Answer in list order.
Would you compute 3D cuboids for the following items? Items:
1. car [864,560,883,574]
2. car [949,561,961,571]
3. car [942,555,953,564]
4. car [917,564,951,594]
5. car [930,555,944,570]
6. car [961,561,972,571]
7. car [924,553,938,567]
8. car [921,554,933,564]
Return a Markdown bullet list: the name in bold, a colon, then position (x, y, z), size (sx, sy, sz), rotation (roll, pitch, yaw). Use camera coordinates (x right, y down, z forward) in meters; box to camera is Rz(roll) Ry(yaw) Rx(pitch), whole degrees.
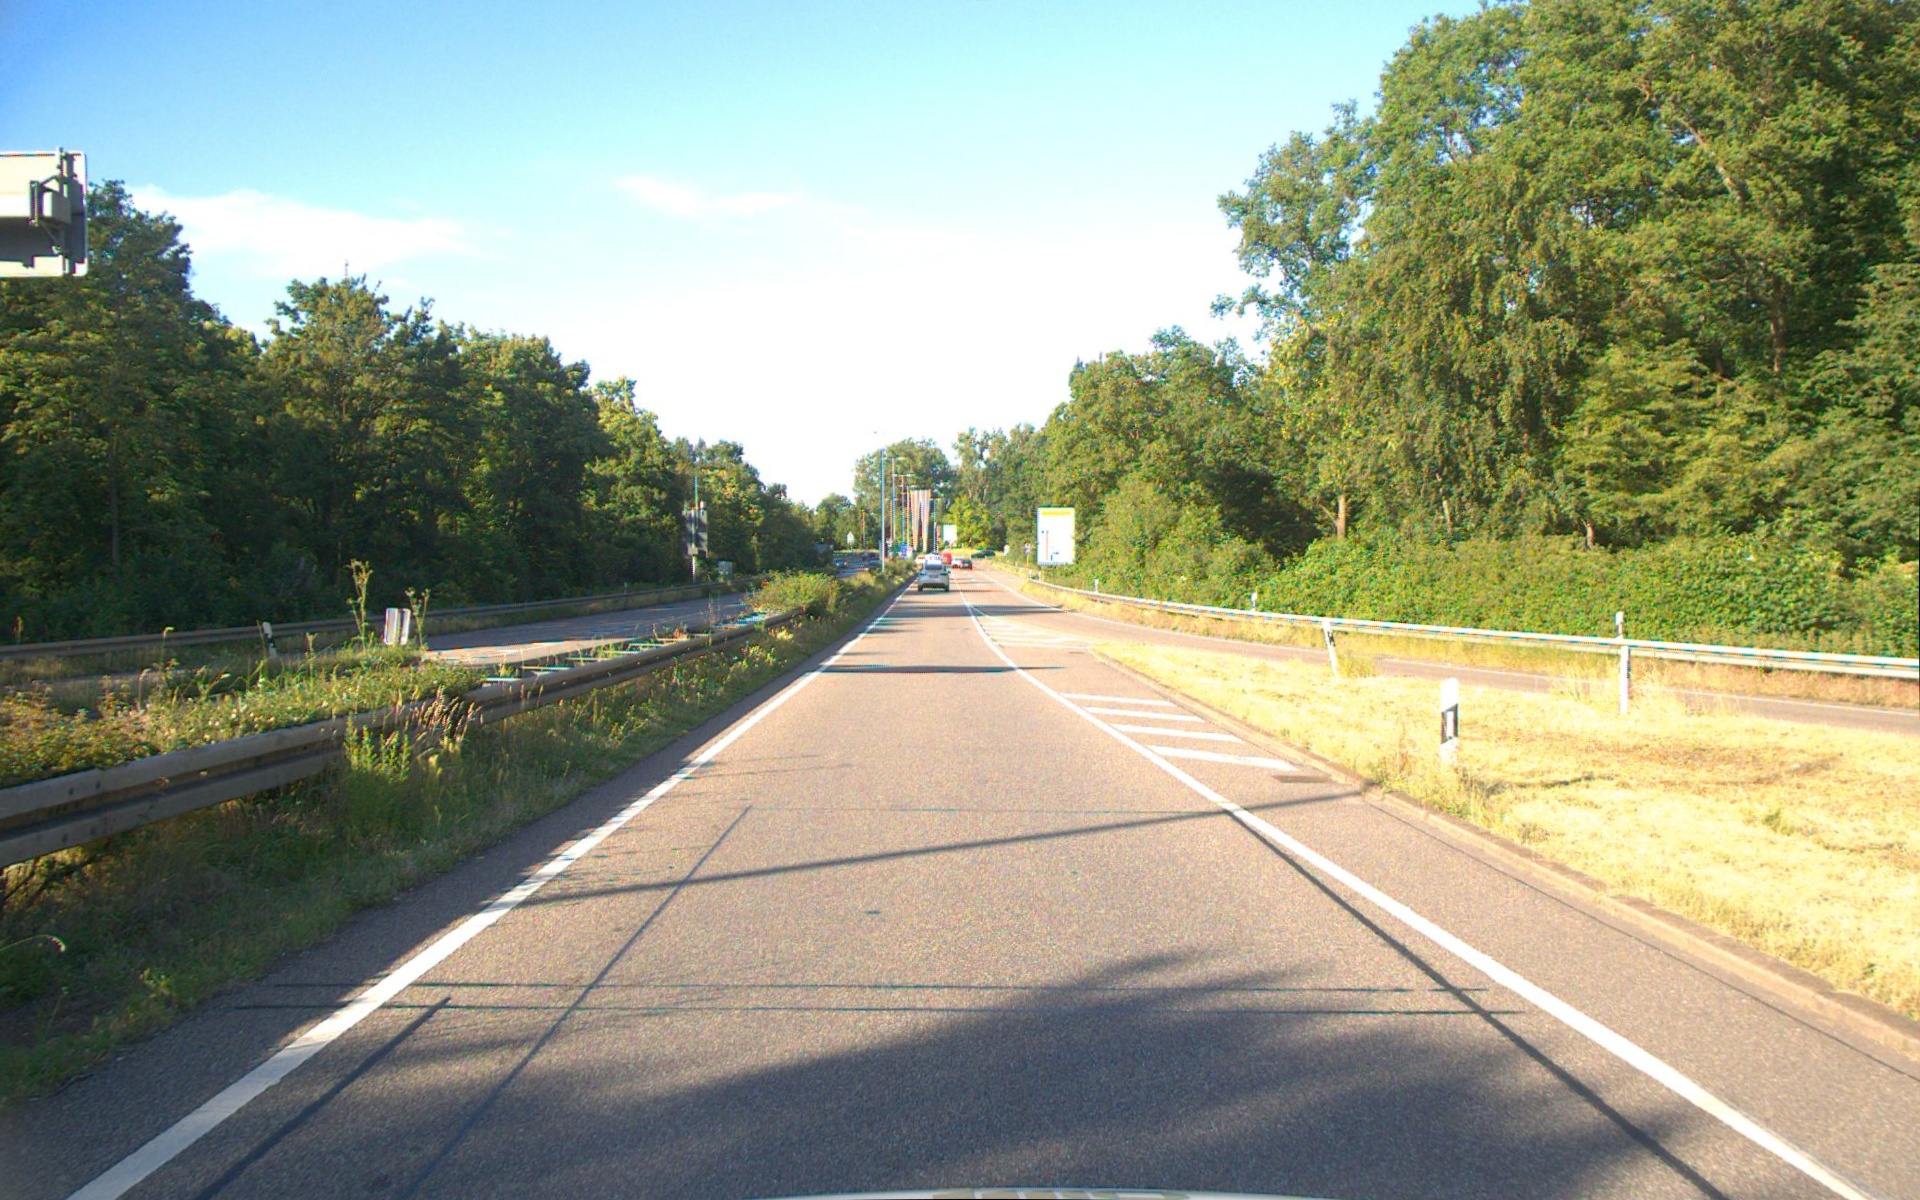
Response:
- **car**: position (-9.444, -3.640, 181.413), size (1.744, 1.427, 4.554), rotation (-1, 2, 1)
- **car**: position (-0.685, -4.846, 233.864), size (1.591, 1.303, 2.987), rotation (2, 0, -1)
- **car**: position (-1.979, -6.273, 256.815), size (1.591, 1.414, 2.987), rotation (2, 0, -1)
- **car**: position (-1.595, -1.289, 100.303), size (1.953, 1.668, 4.127), rotation (-1, 2, -2)
- **car**: position (-3.229, -5.206, 229.959), size (1.953, 1.912, 4.249), rotation (-1, 2, -1)
- **car**: position (0.900, -4.450, 217.100), size (1.360, 1.303, 2.987), rotation (2, 0, -1)
- **car**: position (-4.278, -5.880, 244.280), size (1.953, 2.049, 3.999), rotation (1, 1, -1)
- **car**: position (-5.085, -6.385, 257.253), size (1.790, 1.539, 3.631), rotation (1, 1, -1)
